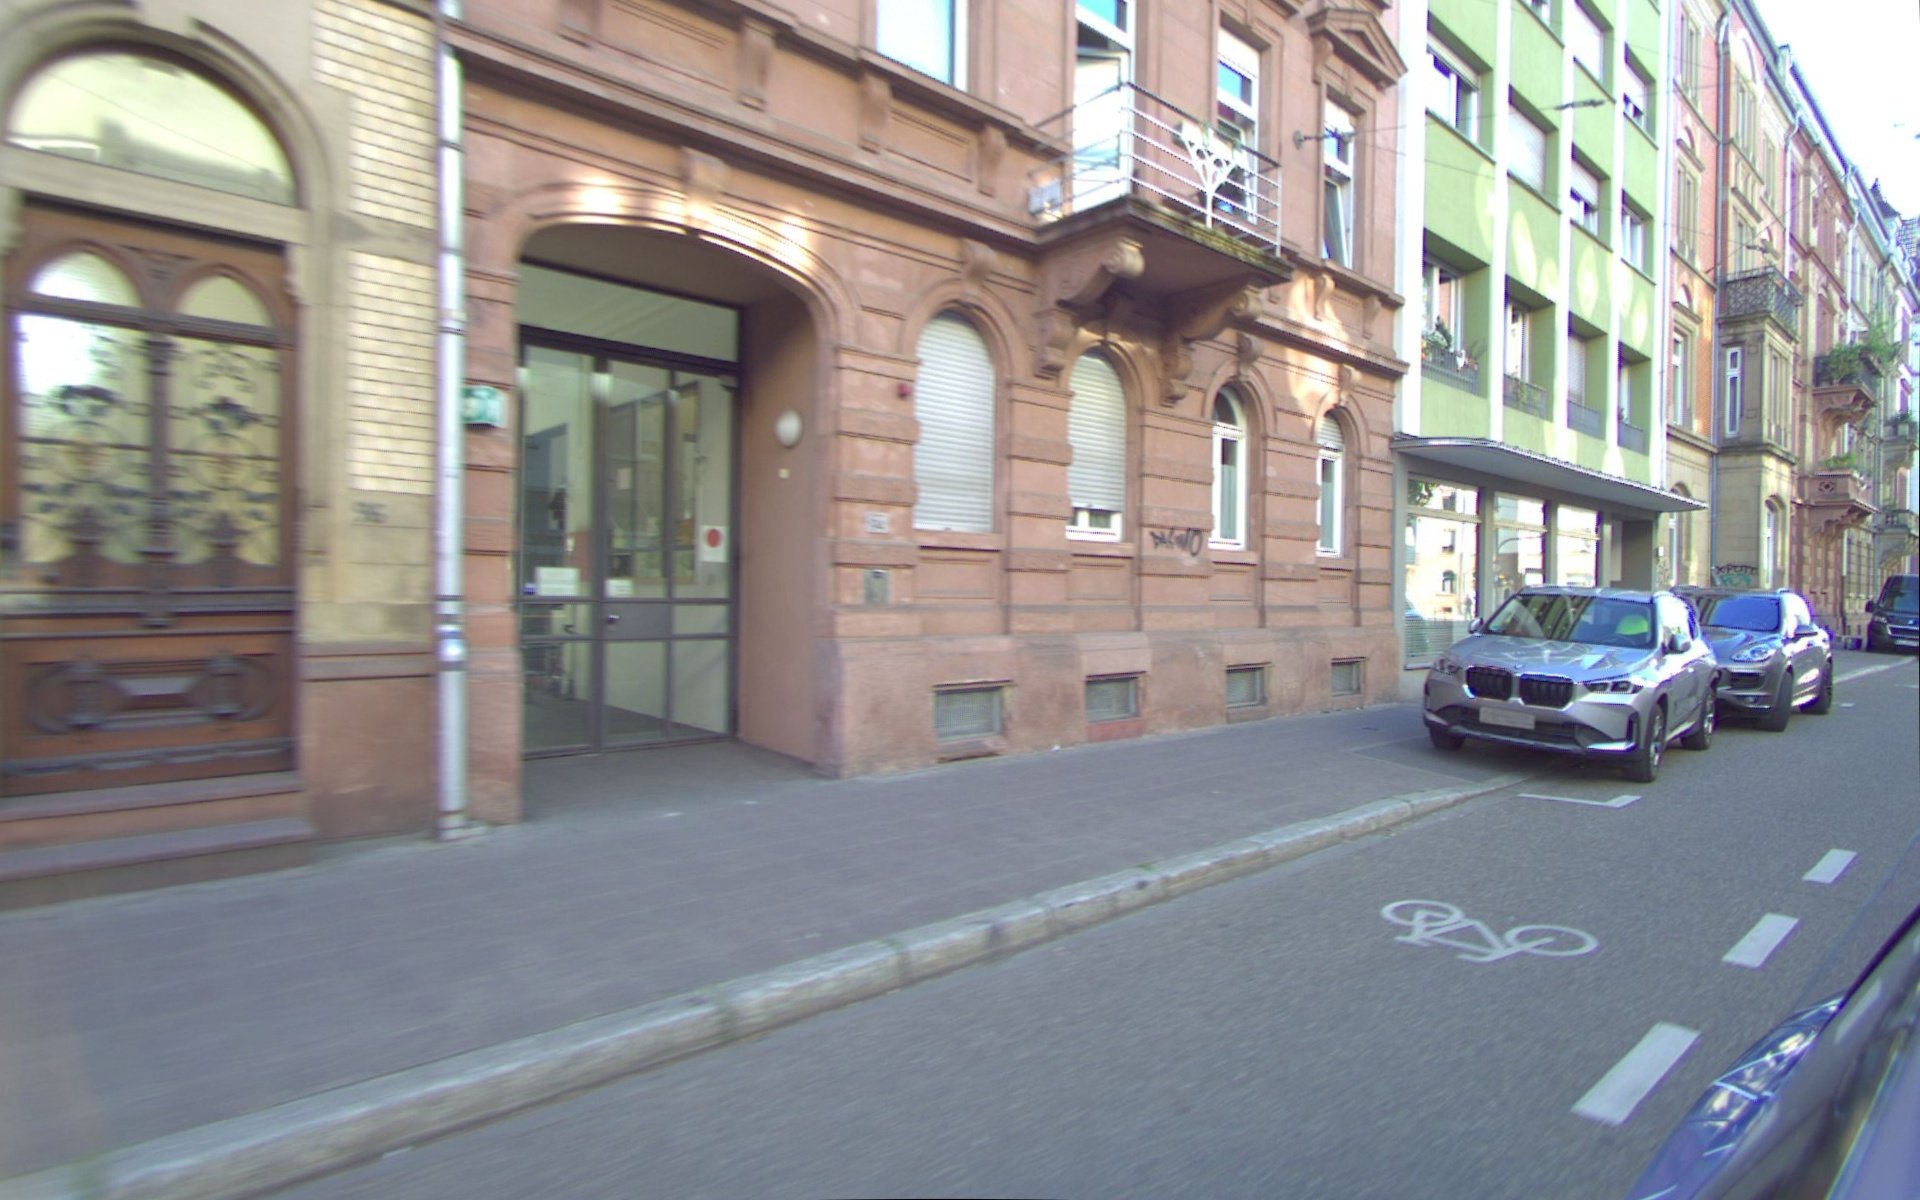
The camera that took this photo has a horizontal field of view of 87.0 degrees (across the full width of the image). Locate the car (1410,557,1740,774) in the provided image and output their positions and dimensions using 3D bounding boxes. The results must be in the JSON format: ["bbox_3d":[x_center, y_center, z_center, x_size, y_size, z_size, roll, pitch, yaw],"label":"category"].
[{"bbox_3d":[6.221,0.480,9.994,1.866,1.667,4.330,0,1,45],"label":"car"}]

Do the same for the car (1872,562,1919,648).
[{"bbox_3d":[30.201,0.121,31.318,5.751,2.524,2.127,0,0,-40],"label":"car"}]

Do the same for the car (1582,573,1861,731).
[{"bbox_3d":[10.212,0.537,13.428,4.703,1.635,1.998,-1,4,-42],"label":"car"}]
